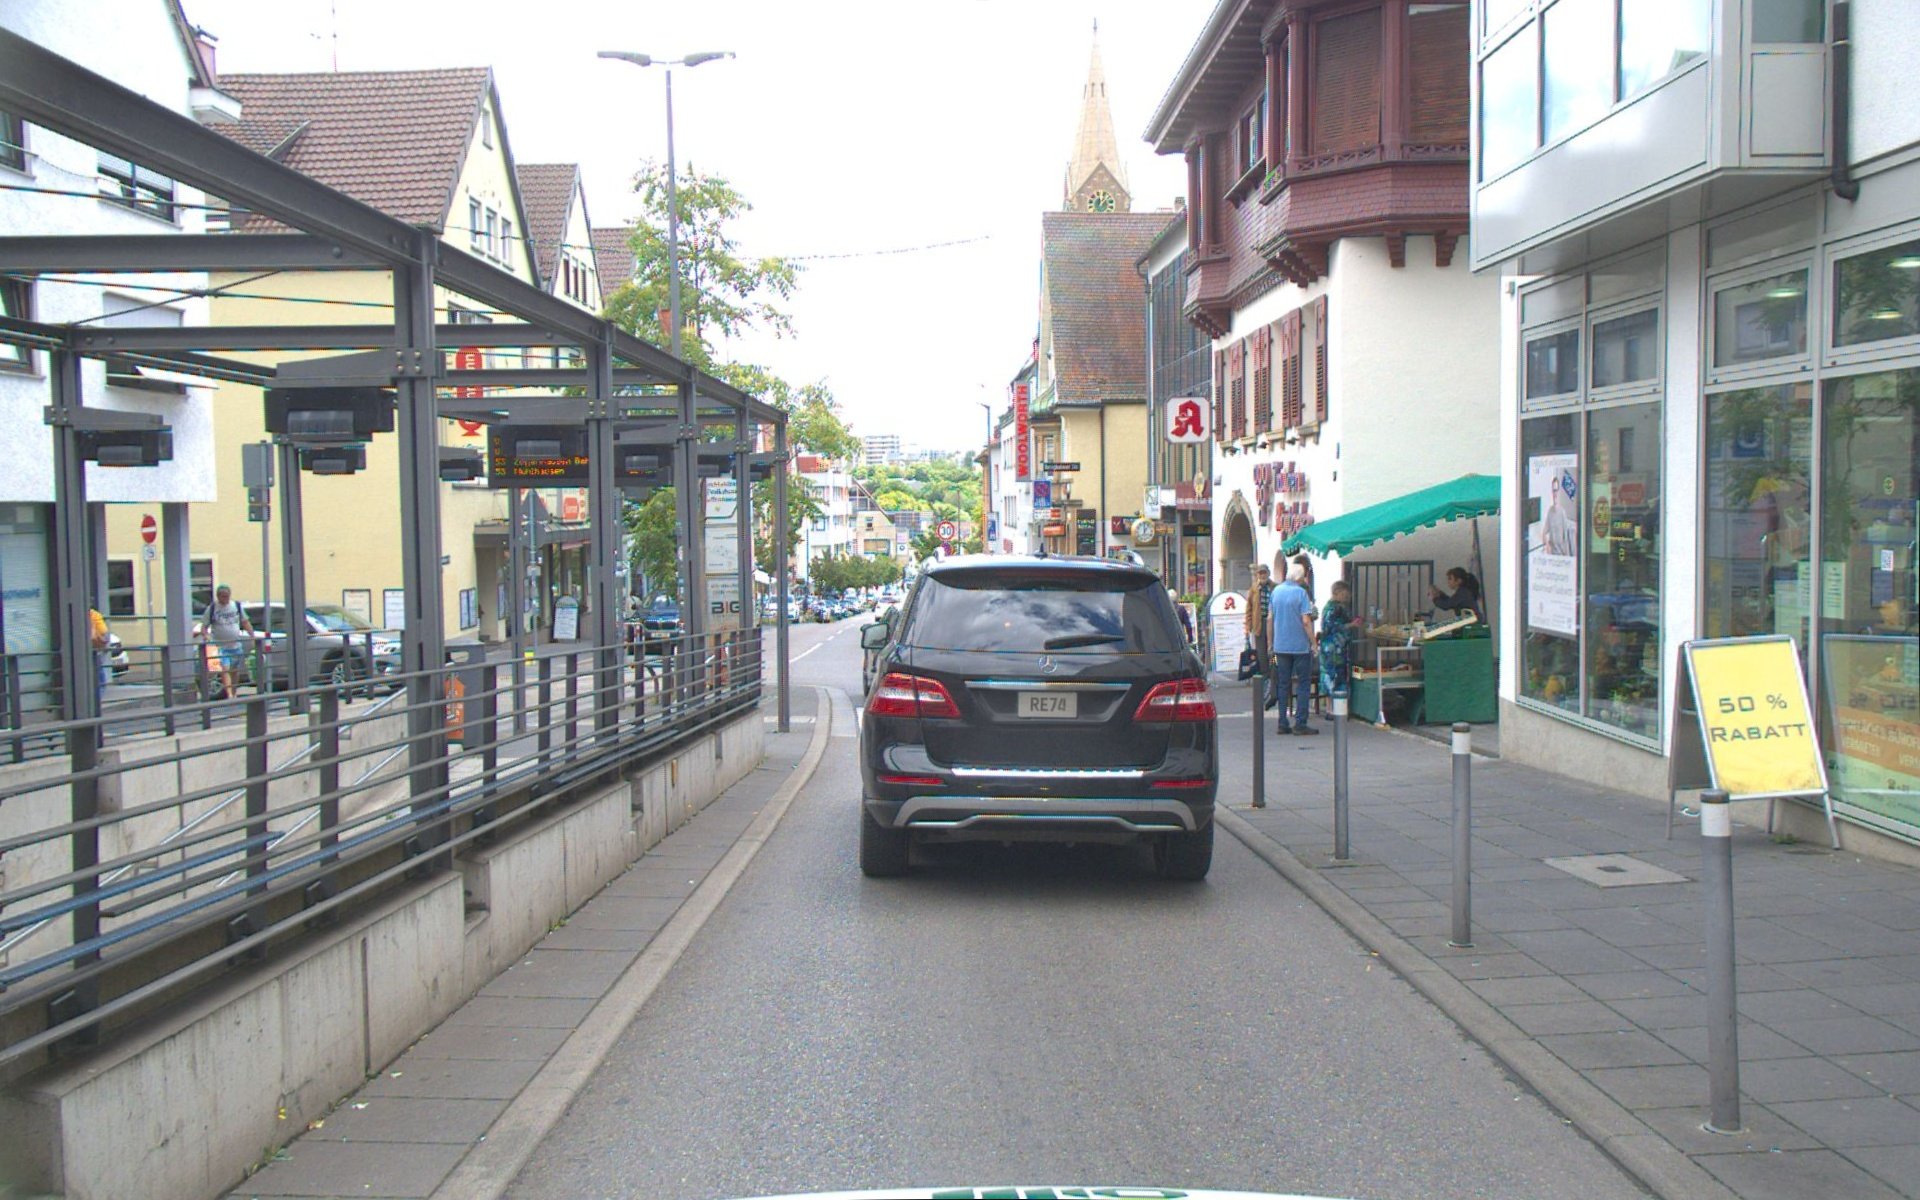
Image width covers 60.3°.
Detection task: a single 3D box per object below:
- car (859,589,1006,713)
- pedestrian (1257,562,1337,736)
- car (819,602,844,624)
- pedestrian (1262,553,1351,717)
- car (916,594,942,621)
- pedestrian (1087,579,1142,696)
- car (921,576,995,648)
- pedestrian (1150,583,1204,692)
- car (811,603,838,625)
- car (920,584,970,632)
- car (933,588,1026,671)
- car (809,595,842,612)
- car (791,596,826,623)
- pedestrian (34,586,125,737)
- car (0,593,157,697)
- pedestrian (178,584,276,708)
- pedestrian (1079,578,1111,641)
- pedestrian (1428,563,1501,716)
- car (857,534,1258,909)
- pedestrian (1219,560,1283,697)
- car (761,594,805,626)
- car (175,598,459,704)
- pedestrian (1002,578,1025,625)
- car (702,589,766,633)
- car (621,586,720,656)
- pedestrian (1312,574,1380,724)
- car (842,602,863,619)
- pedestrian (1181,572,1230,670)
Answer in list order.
[{"bbox_3d":[-0.466,0.649,23.408,1.751,1.567,3.740,-1,0,-6],"label":"car"},{"bbox_3d":[3.581,0.509,17.572,0.686,1.797,0.625,-1,0,24],"label":"pedestrian"},{"bbox_3d":[-10.105,1.024,130.284,1.889,1.623,4.454,1,0,-5],"label":"car"},{"bbox_3d":[4.112,0.404,19.638,0.766,1.889,0.699,-1,0,41],"label":"pedestrian"},{"bbox_3d":[-2.455,0.584,129.174,1.899,1.924,4.705,-3,0,-2],"label":"car"},{"bbox_3d":[2.253,0.536,24.234,0.756,1.674,0.870,-1,0,4],"label":"pedestrian"},{"bbox_3d":[-0.006,0.293,45.272,1.838,1.831,4.733,-1,0,2],"label":"car"},{"bbox_3d":[3.171,0.537,24.224,0.709,1.558,0.808,-1,0,4],"label":"pedestrian"},{"bbox_3d":[-10.055,1.056,122.895,1.889,1.523,4.258,1,0,-4],"label":"car"},{"bbox_3d":[-0.557,0.275,61.171,1.713,1.636,3.800,-3,0,-1],"label":"car"},{"bbox_3d":[0.347,0.563,34.171,1.766,1.582,3.953,-1,0,-1],"label":"car"},{"bbox_3d":[-16.111,0.389,197.867,3.910,1.780,1.998,-3,0,-5],"label":"car"},{"bbox_3d":[-9.276,0.595,101.606,1.888,1.650,4.637,0,-1,-3],"label":"car"},{"bbox_3d":[-10.686,0.730,20.096,0.624,1.769,0.835,-2,0,-4],"label":"pedestrian"},{"bbox_3d":[-19.060,0.959,33.717,4.249,1.837,2.002,-3,3,3],"label":"car"},{"bbox_3d":[-11.031,0.675,24.907,0.897,1.819,0.988,-1,0,15],"label":"pedestrian"},{"bbox_3d":[3.745,0.261,45.914,0.845,1.737,0.945,-1,0,4],"label":"pedestrian"},{"bbox_3d":[5.561,0.424,18.258,0.610,1.641,0.703,-1,0,4],"label":"pedestrian"},{"bbox_3d":[0.441,0.572,10.042,1.904,1.770,4.178,1,0,-1],"label":"car"},{"bbox_3d":[3.981,0.383,22.647,0.769,1.833,0.676,-1,0,4],"label":"pedestrian"},{"bbox_3d":[-8.999,0.508,84.348,1.888,1.538,4.260,1,0,-3],"label":"car"},{"bbox_3d":[-11.320,0.912,29.220,4.249,1.650,1.970,1,-6,16],"label":"car"},{"bbox_3d":[2.045,0.070,63.239,0.780,1.757,1.052,-1,0,-1],"label":"pedestrian"},{"bbox_3d":[-8.392,0.373,61.646,1.888,1.518,4.840,1,0,-3],"label":"car"},{"bbox_3d":[-7.700,0.511,44.390,1.966,1.723,4.606,1,1,-2],"label":"car"},{"bbox_3d":[4.326,0.537,18.565,0.610,1.641,0.703,-1,0,4],"label":"pedestrian"},{"bbox_3d":[-10.613,1.044,163.402,1.887,1.657,4.261,0,0,-1],"label":"car"},{"bbox_3d":[4.587,0.384,30.957,0.758,1.800,0.817,-1,0,0],"label":"pedestrian"}]
